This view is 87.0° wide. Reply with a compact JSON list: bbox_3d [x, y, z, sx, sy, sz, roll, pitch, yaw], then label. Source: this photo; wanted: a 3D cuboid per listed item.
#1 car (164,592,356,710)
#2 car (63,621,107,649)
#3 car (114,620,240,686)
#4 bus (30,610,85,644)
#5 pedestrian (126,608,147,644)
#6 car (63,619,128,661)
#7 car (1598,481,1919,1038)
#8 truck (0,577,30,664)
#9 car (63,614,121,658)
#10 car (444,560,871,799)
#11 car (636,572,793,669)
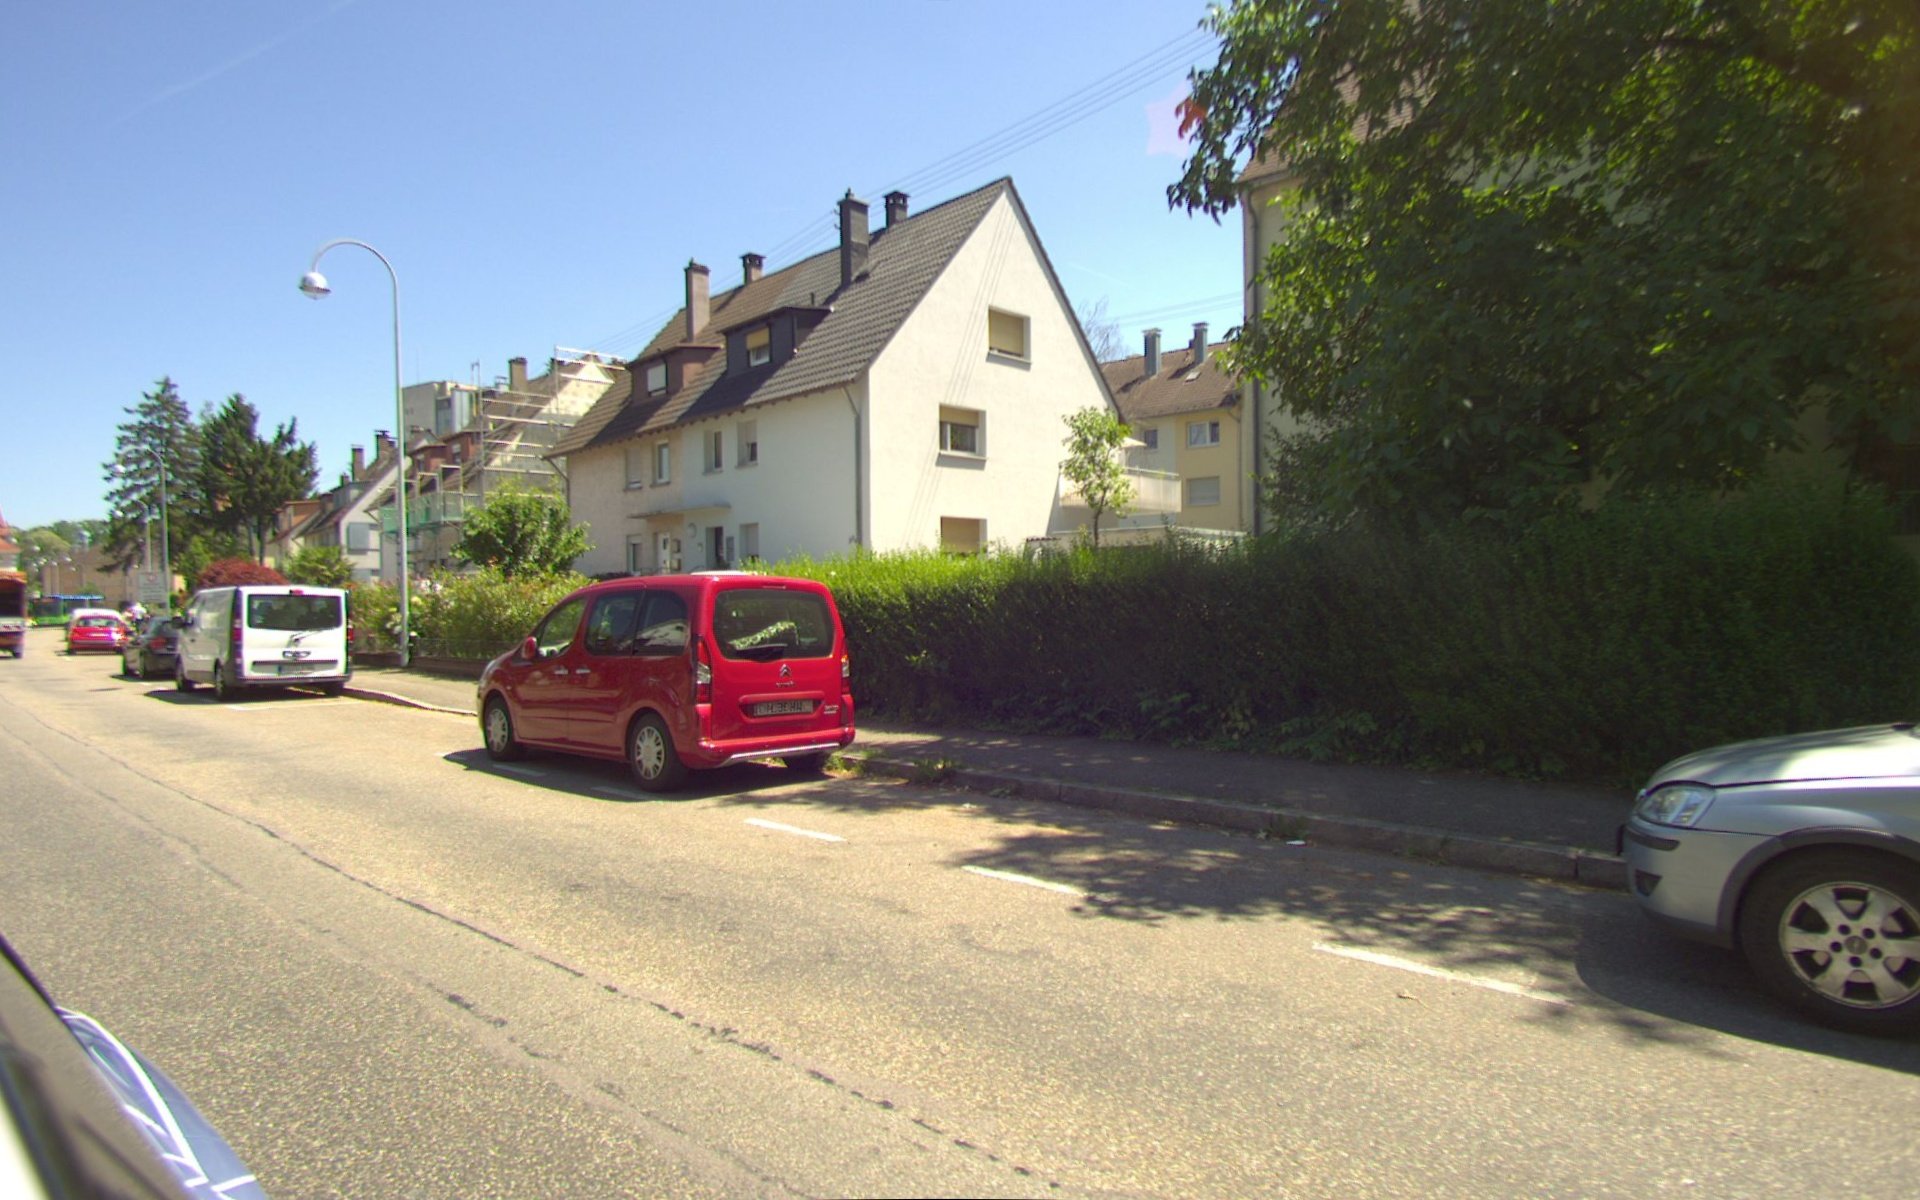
[{"bbox_3d":[-12.994,0.867,18.647,4.980,1.895,1.866,-2,-1,43],"label":"car"},{"bbox_3d":[-48.273,1.920,55.907,1.747,1.450,4.369,2,-2,-40],"label":"car"},{"bbox_3d":[-18.250,1.184,23.519,4.236,1.395,1.679,-2,-3,44],"label":"car"},{"bbox_3d":[-90.788,2.639,101.973,2.865,3.103,12.591,-1,0,-36],"label":"bus"},{"bbox_3d":[-46.235,1.456,56.838,0.680,1.903,1.021,-7,4,-36],"label":"pedestrian"},{"bbox_3d":[-32.511,1.495,38.032,1.739,1.489,4.063,2,-3,-41],"label":"car"},{"bbox_3d":[4.556,0.501,2.952,4.353,1.765,1.630,-1,-2,42],"label":"car"},{"bbox_3d":[-33.693,0.716,34.708,5.661,2.851,2.346,-1,-2,44],"label":"truck"},{"bbox_3d":[-35.970,1.472,41.918,1.702,1.749,3.892,2,-3,-42],"label":"car"},{"bbox_3d":[-3.002,0.637,9.504,4.455,1.740,1.739,-2,-2,41],"label":"car"},{"bbox_3d":[-5.413,0.404,21.989,1.693,1.884,4.007,-3,1,-39],"label":"car"}]
